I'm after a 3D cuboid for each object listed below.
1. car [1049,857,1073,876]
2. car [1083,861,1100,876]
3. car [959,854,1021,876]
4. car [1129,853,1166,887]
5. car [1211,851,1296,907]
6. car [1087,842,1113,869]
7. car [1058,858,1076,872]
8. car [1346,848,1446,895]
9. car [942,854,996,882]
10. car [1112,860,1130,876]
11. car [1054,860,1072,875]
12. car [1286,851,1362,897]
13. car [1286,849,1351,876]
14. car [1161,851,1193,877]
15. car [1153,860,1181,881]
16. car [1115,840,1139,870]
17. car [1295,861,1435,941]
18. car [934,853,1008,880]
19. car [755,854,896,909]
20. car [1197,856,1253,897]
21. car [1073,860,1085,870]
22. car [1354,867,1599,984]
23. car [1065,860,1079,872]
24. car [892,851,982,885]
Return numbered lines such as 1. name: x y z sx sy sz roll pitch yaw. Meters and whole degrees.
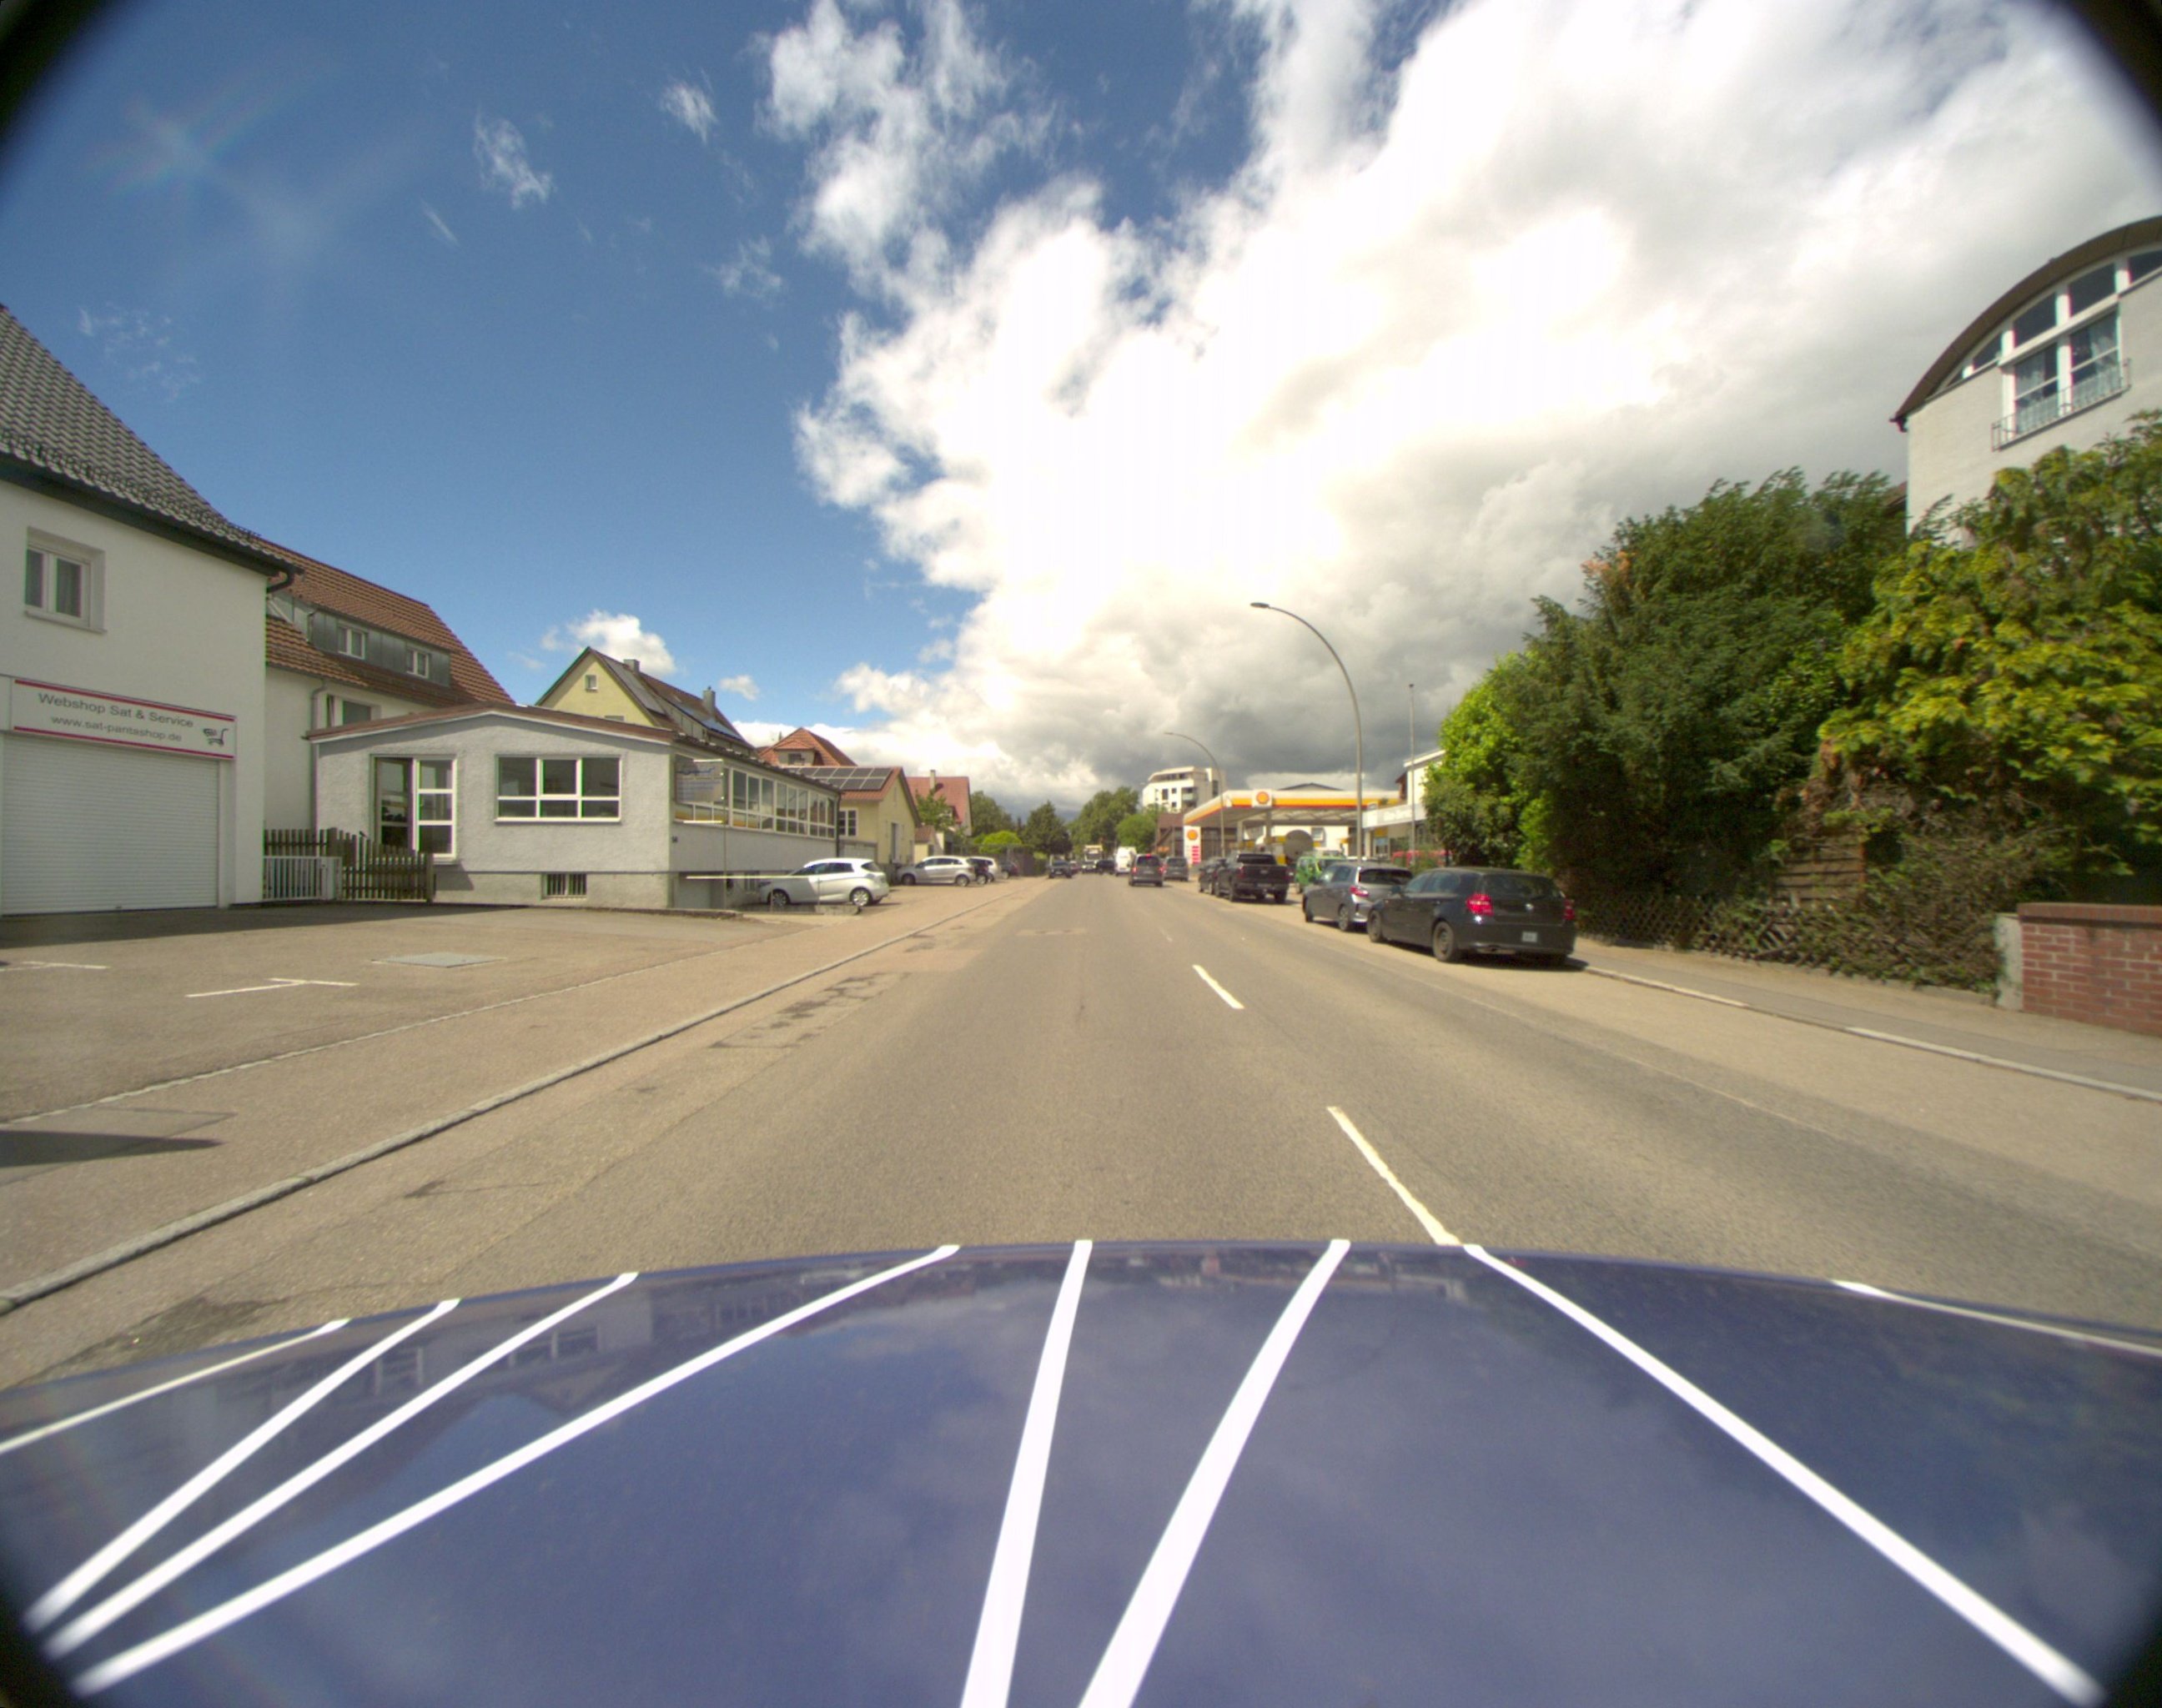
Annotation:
1. car: -1.692 1.042 64.648 1.789 1.548 4.317 -1 0 2
2. car: 1.207 1.752 92.602 1.891 1.708 3.999 1 0 -1
3. car: -6.819 0.836 57.094 4.419 1.399 1.974 3 0 -2
4. car: 3.729 0.878 43.184 1.667 1.785 4.338 1 0 0
5. car: 6.277 0.858 28.359 1.915 1.810 5.430 3 0 1
6. car: 2.669 0.211 108.131 3.263 3.596 10.268 -1 0 -1
7. car: -1.495 1.131 82.036 1.789 1.435 3.772 -1 0 2
8. car: 13.163 0.676 32.089 1.798 1.775 4.334 -3 1 -10
9. car: -6.630 0.832 45.261 2.895 1.516 1.974 3 0 -2
10. car: 4.396 1.517 83.351 1.789 1.555 3.880 -1 0 1
11. car: -1.771 1.355 74.699 1.576 1.423 3.549 0 0 2
12. car: 10.220 0.798 32.316 1.797 1.775 4.338 -1 0 0
13. car: 16.643 0.564 53.150 4.993 1.841 1.970 -1 0 -41
14. car: 6.867 0.730 54.867 1.733 1.727 4.190 3 0 1
15. car: 6.739 1.277 60.002 1.667 1.505 4.190 3 0 1
16. car: 4.315 0.108 72.105 1.997 2.749 6.164 1 0 1
17. car: 6.216 0.955 17.114 1.667 1.502 3.945 2 0 1
18. car: -7.032 0.815 48.907 4.419 1.516 1.974 3 0 -2
19. car: -8.182 0.865 24.589 3.909 1.599 1.749 -2 0 -1
20. car: 6.327 0.951 33.843 1.667 1.670 4.526 1 0 1
21. car: -0.372 1.757 120.067 1.789 1.555 3.880 -1 0 1
22. car: 5.985 0.976 12.171 1.667 1.427 4.338 2 0 1
23. car: -1.179 1.602 105.286 1.789 1.555 3.880 -1 0 1
24. car: -7.657 0.739 40.628 4.419 1.599 1.974 3 0 -2
